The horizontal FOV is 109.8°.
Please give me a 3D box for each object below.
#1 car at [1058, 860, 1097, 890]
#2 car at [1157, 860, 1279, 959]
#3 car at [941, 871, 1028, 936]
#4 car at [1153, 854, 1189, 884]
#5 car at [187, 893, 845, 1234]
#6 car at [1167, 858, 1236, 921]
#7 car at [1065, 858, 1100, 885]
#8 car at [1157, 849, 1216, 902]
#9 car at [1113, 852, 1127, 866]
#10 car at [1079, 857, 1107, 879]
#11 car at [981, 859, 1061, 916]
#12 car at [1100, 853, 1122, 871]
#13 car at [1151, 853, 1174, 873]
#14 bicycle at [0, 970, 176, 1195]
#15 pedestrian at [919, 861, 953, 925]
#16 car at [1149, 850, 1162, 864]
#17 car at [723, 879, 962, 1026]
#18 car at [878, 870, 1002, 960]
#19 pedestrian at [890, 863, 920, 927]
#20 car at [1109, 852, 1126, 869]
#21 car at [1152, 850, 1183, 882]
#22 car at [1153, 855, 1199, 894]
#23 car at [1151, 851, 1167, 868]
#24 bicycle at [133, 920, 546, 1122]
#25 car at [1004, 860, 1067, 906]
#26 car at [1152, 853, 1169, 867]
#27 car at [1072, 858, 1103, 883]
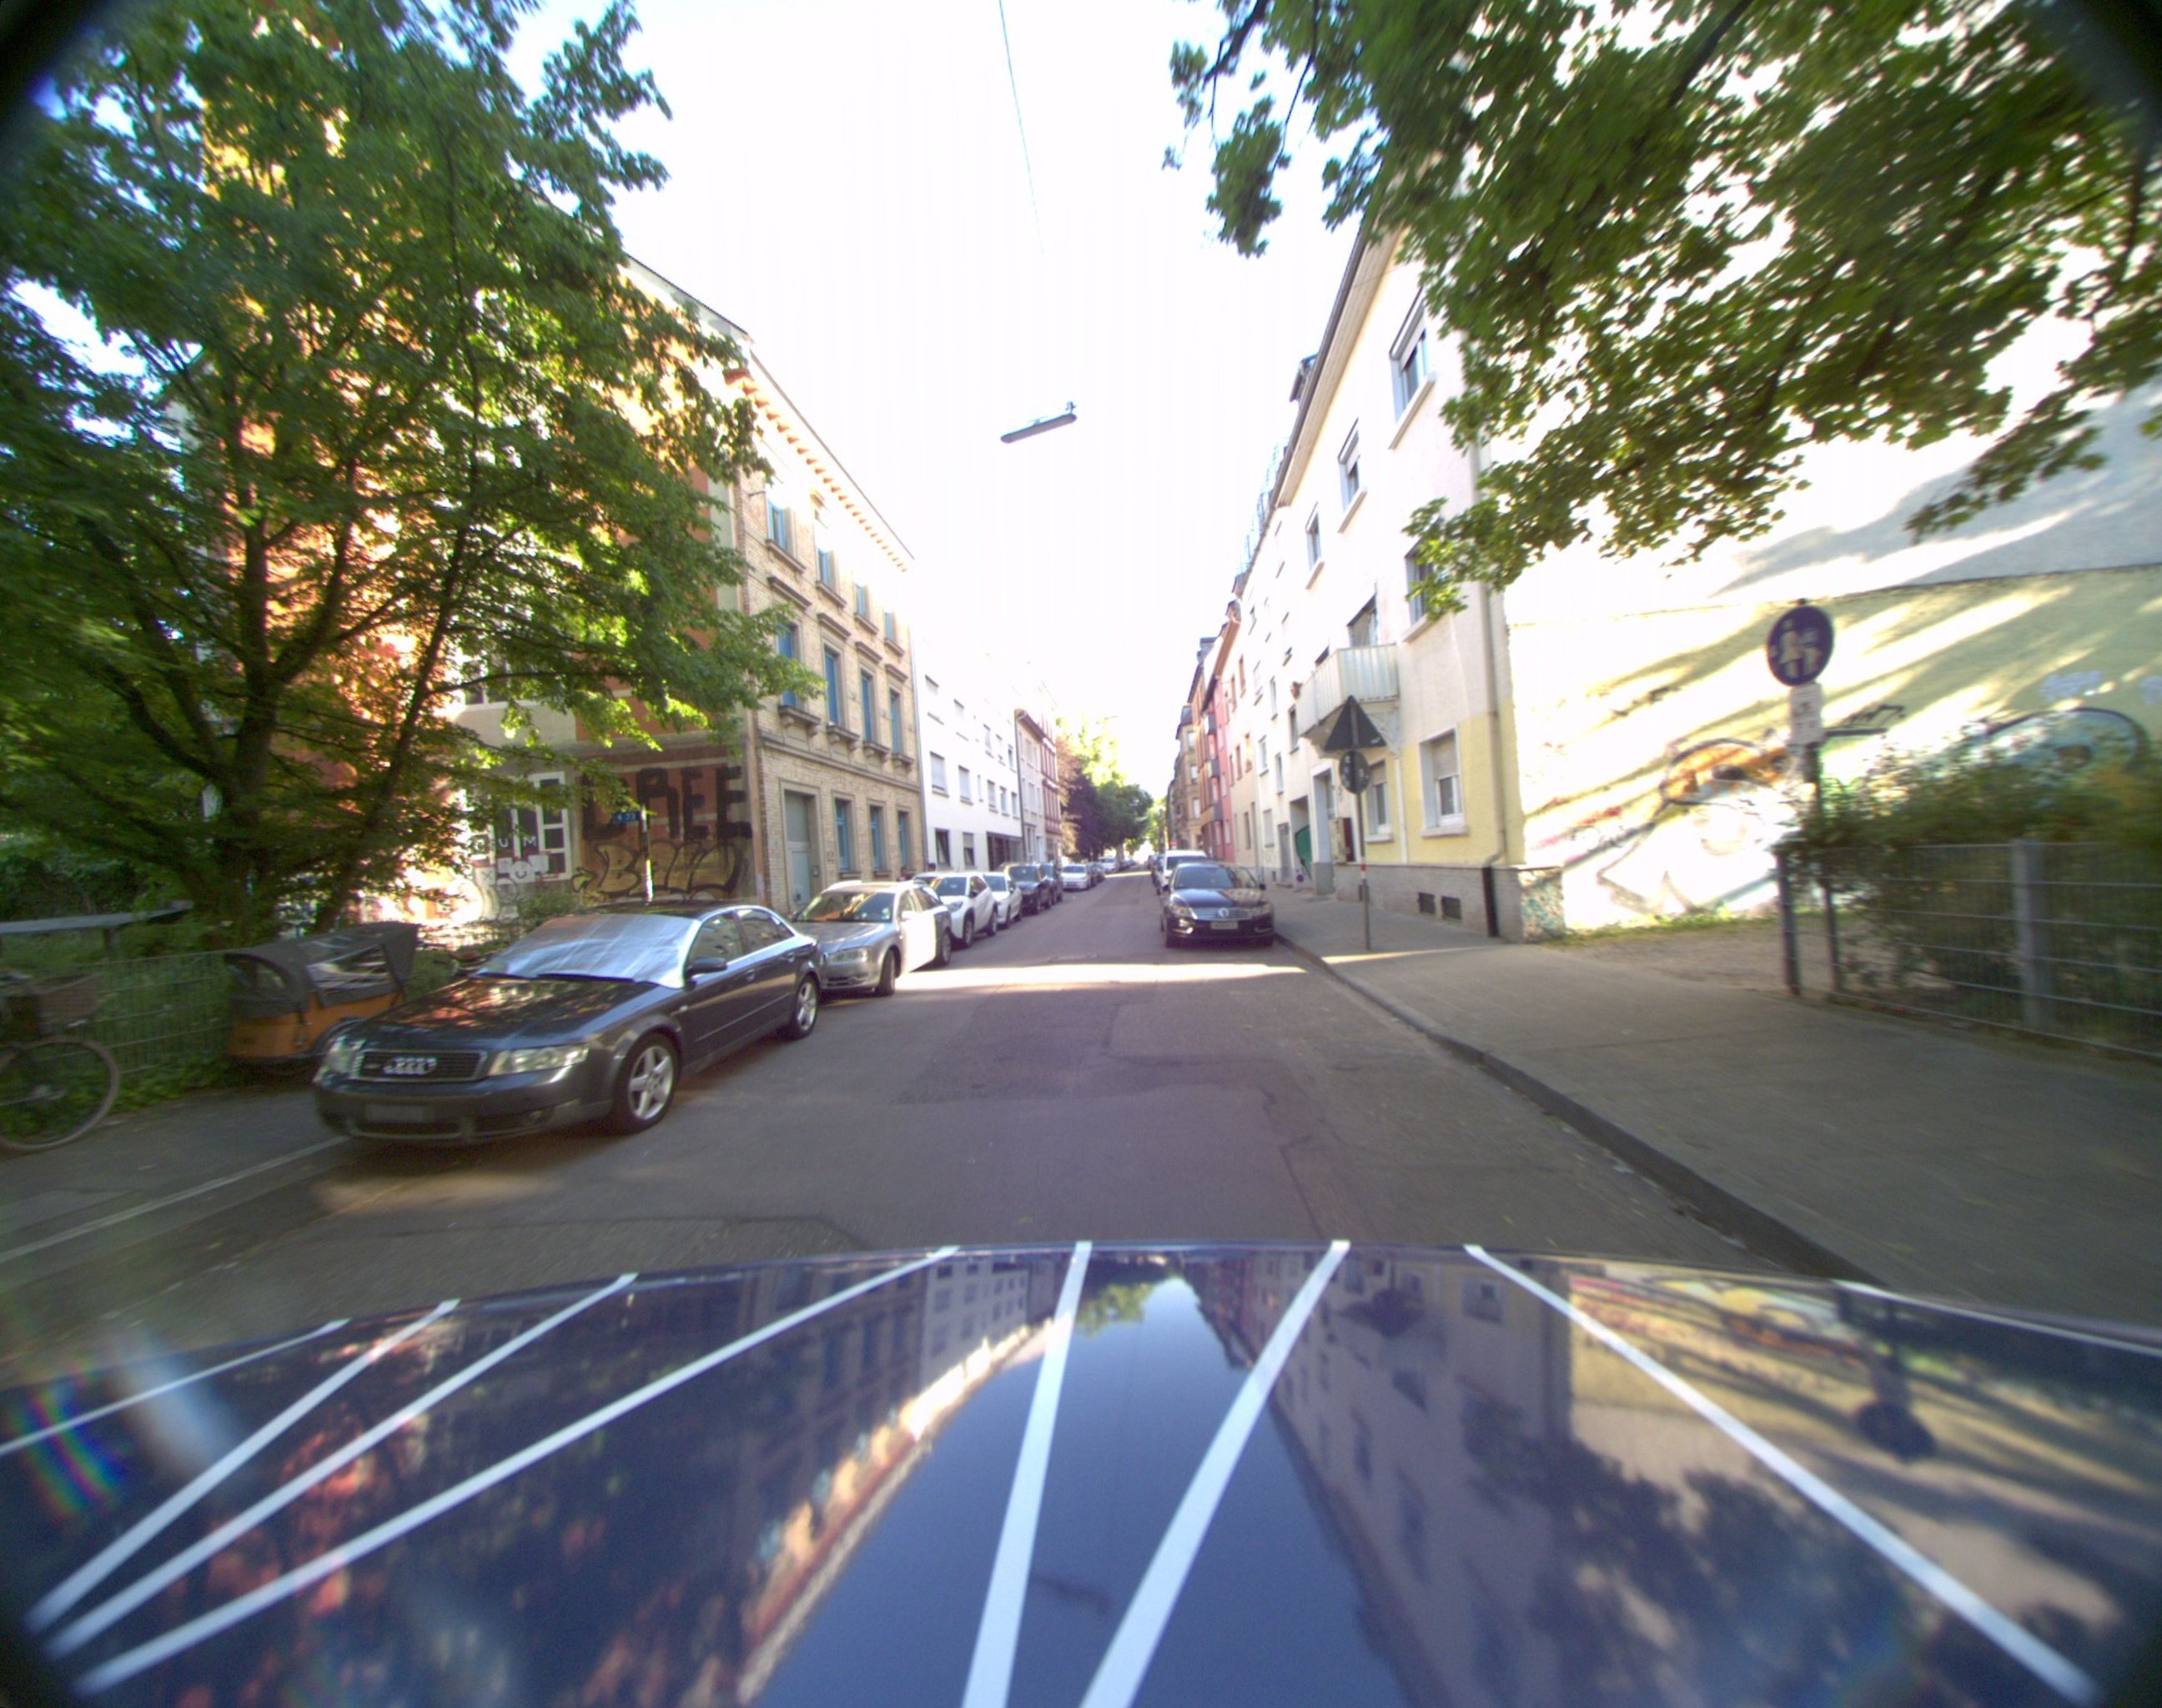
[{"bbox_3d":[-0.148,1.164,42.875,1.768,1.508,4.104,-1,0,5],"label":"car"},{"bbox_3d":[2.332,0.877,13.909,1.783,1.435,4.394,-1,0,5],"label":"car"},{"bbox_3d":[-2.520,1.261,20.641,1.597,1.442,4.004,-2,0,3],"label":"car"},{"bbox_3d":[4.849,0.781,41.244,1.768,1.463,3.817,-1,0,5],"label":"car"},{"bbox_3d":[-3.610,1.203,6.107,1.725,1.485,4.415,-2,0,4],"label":"car"},{"bbox_3d":[3.054,0.850,19.689,1.596,1.442,3.487,-1,0,7],"label":"car"},{"bbox_3d":[0.130,1.043,47.634,1.768,1.524,4.104,-2,0,5],"label":"car"},{"bbox_3d":[3.711,0.690,27.236,1.753,1.731,4.316,-1,0,4],"label":"car"},{"bbox_3d":[5.628,0.670,109.599,1.768,2.006,4.265,-1,0,5],"label":"car"},{"bbox_3d":[0.940,1.059,57.220,1.768,1.524,4.104,-1,0,5],"label":"car"},{"bbox_3d":[-1.902,1.050,25.392,1.769,1.657,4.330,-3,0,7],"label":"car"},{"bbox_3d":[3.362,0.847,84.436,1.865,1.970,4.483,-1,0,8],"label":"car"},{"bbox_3d":[6.588,0.693,61.745,1.768,1.524,4.104,-1,0,5],"label":"car"},{"bbox_3d":[-6.740,1.404,4.242,0.848,1.193,1.983,-3,0,7],"label":"bicycle"},{"bbox_3d":[-3.919,1.033,20.636,0.711,1.699,0.752,0,1,5],"label":"pedestrian"},{"bbox_3d":[10.892,0.397,111.263,1.768,2.075,4.265,-1,0,5],"label":"car"},{"bbox_3d":[-3.149,1.237,11.079,1.662,1.485,4.355,-4,0,5],"label":"car"},{"bbox_3d":[-2.881,1.193,16.294,1.597,1.576,3.765,-2,0,5],"label":"car"},{"bbox_3d":[-4.757,1.102,20.604,0.598,1.699,0.706,0,1,5],"label":"pedestrian"},{"bbox_3d":[4.427,0.766,90.969,1.768,1.846,4.287,-4,0,5],"label":"car"},{"bbox_3d":[5.274,0.704,46.580,1.768,1.814,4.104,-1,0,5],"label":"car"},{"bbox_3d":[4.092,0.823,32.162,1.674,1.519,4.088,-1,0,10],"label":"car"},{"bbox_3d":[9.263,0.626,90.544,1.768,1.846,3.994,-1,0,5],"label":"car"},{"bbox_3d":[-6.411,1.353,6.868,1.293,1.294,2.328,-1,0,8],"label":"bicycle"},{"bbox_3d":[-1.728,1.110,30.564,1.885,1.657,4.329,-1,0,5],"label":"car"},{"bbox_3d":[8.905,0.618,85.173,1.768,1.463,3.934,-1,0,5],"label":"car"},{"bbox_3d":[0.458,1.080,52.090,1.768,1.524,4.104,-2,0,5],"label":"car"}]
